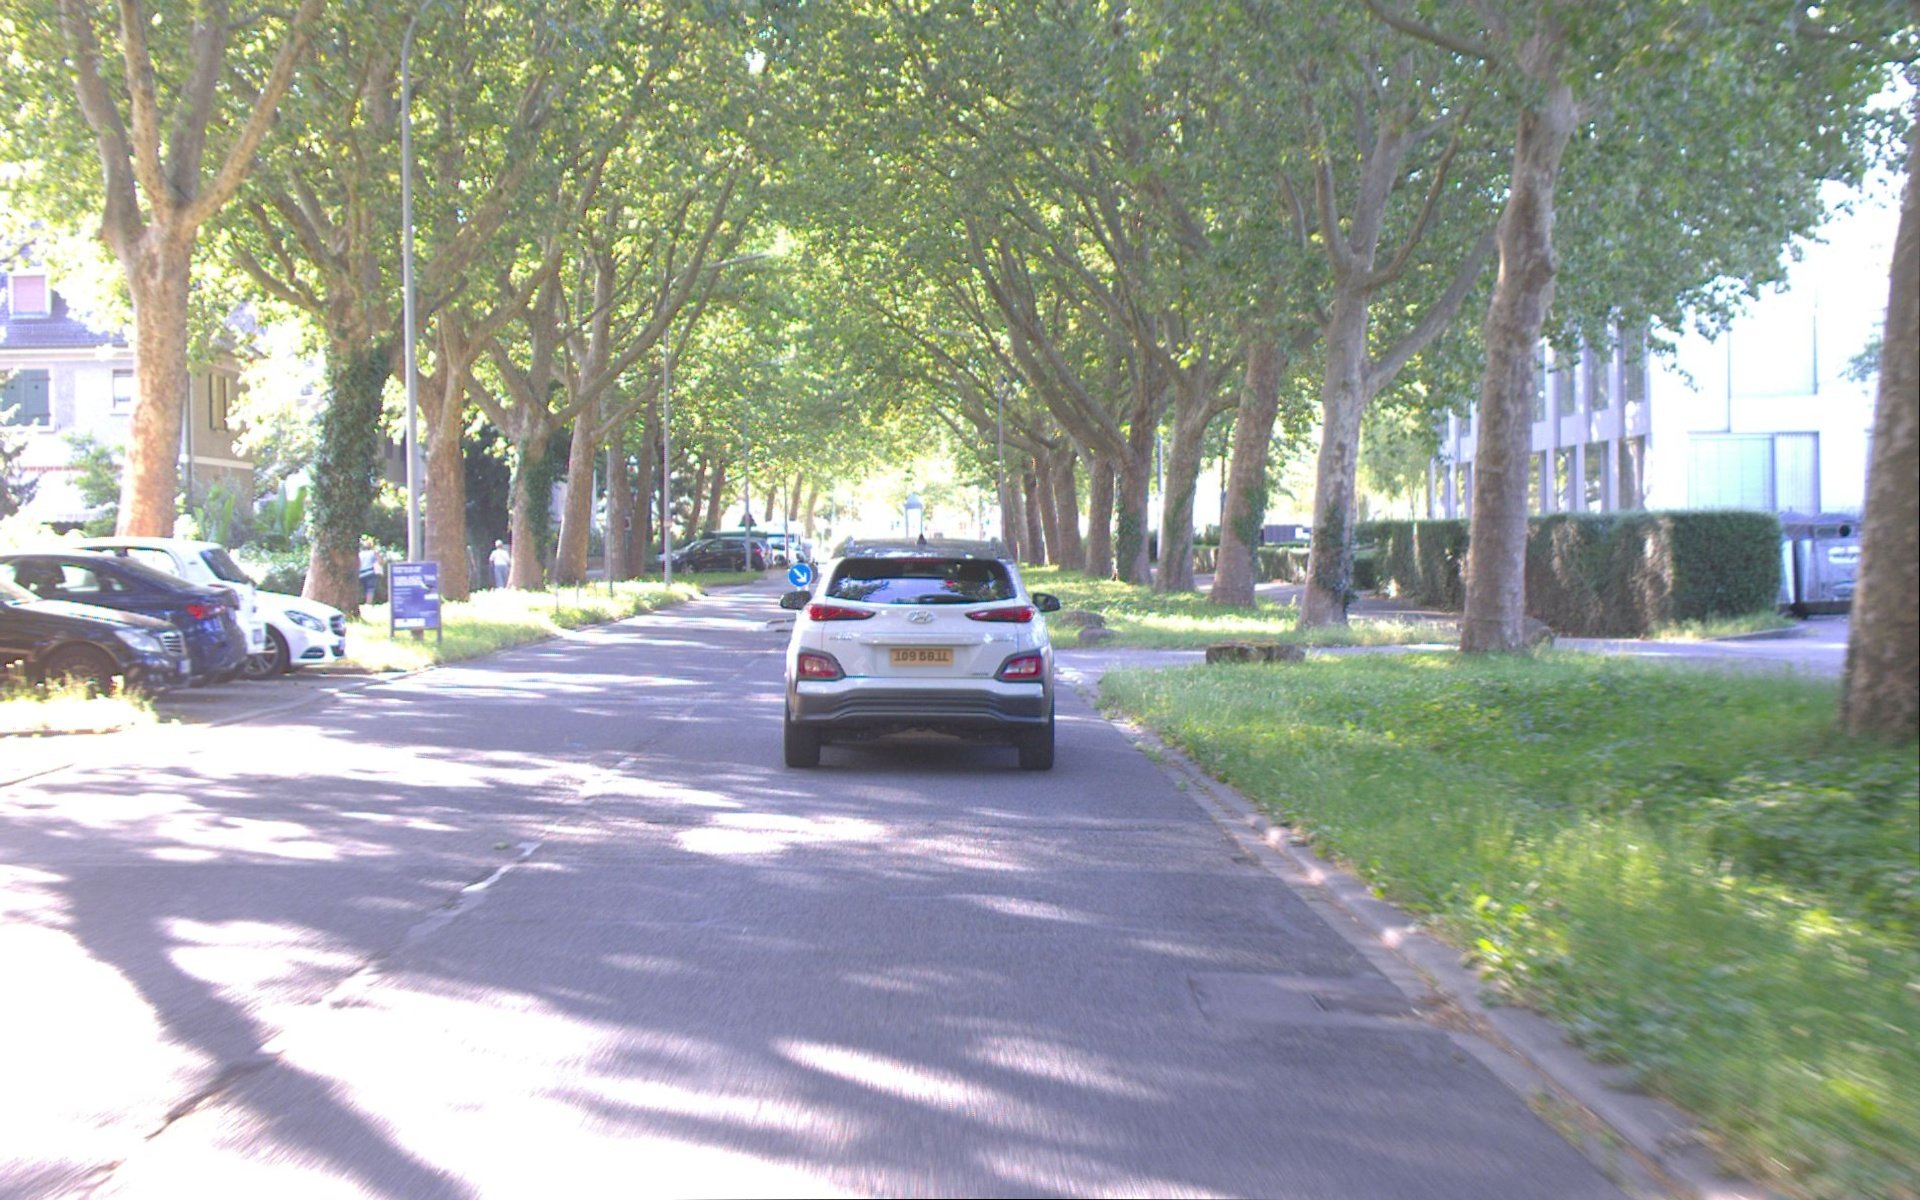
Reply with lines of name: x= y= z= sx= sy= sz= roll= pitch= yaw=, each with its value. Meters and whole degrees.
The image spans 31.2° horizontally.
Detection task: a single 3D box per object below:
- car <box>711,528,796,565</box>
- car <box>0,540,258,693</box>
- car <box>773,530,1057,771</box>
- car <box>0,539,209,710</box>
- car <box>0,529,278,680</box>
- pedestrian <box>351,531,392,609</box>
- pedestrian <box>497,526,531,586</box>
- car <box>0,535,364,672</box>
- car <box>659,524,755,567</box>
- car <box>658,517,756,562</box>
car: x=-9.868 y=-2.548 z=163.934 sx=3.986 sy=1.766 sz=2.000 roll=0 pitch=1 yaw=-5
car: x=-8.854 y=0.140 z=32.948 sx=3.986 sy=1.419 sz=1.809 roll=0 pitch=1 yaw=-5
car: x=-0.331 y=0.309 z=24.309 sx=1.835 sy=1.550 sz=4.000 roll=0 pitch=1 yaw=-1
car: x=-8.825 y=0.189 z=30.456 sx=3.986 sy=1.465 sz=1.781 roll=0 pitch=1 yaw=-2
car: x=-9.205 y=0.025 z=35.519 sx=3.986 sy=1.515 sz=1.809 roll=0 pitch=1 yaw=-2
pedestrian: x=-13.166 y=-0.669 z=76.903 sx=0.749 sy=1.701 sz=0.793 roll=1 pitch=0 yaw=-1
pedestrian: x=-12.740 y=-1.266 z=98.231 sx=0.749 sy=1.701 sz=0.793 roll=1 pitch=0 yaw=-25
car: x=-8.788 y=0.020 z=38.240 sx=3.987 sy=1.465 sz=1.809 roll=0 pitch=1 yaw=1
car: x=-10.676 y=-2.301 z=145.009 sx=3.986 sy=1.766 sz=2.000 roll=1 pitch=0 yaw=-5
car: x=-10.414 y=-2.484 z=141.393 sx=3.986 sy=1.766 sz=2.000 roll=1 pitch=0 yaw=-5
